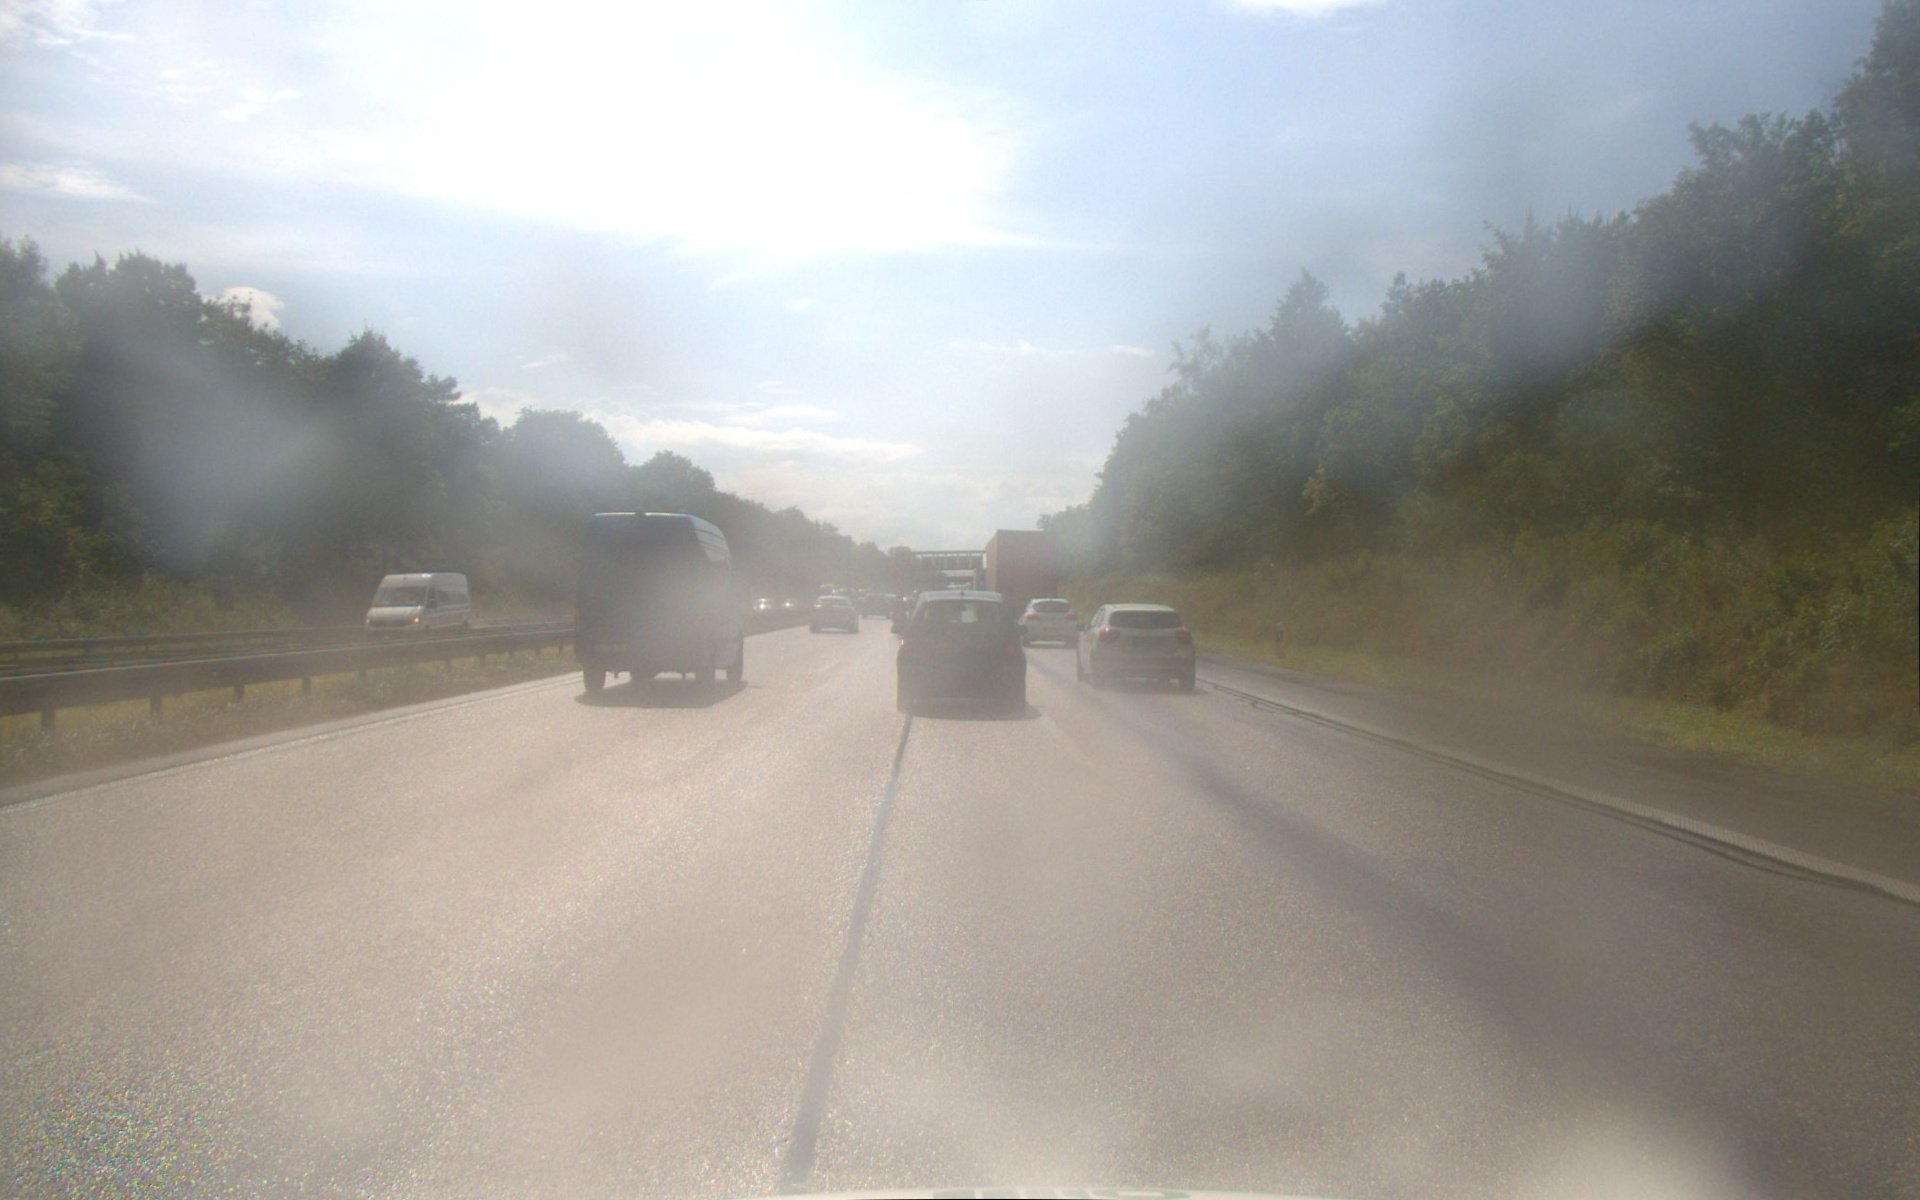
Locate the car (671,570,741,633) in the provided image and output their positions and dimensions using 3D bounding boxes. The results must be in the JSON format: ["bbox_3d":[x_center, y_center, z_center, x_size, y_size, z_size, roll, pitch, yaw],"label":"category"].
[{"bbox_3d":[-10.509,0.057,68.828,2.139,2.495,5.746,1,0,-2],"label":"car"}]

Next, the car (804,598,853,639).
[{"bbox_3d":[-5.386,0.745,67.914,1.817,1.578,3.483,1,0,-2],"label":"car"}]

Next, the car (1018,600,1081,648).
[{"bbox_3d":[2.803,0.734,52.362,1.646,1.467,3.903,1,0,-2],"label":"car"}]

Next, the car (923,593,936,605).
[{"bbox_3d":[-4.743,-0.193,255.269,1.953,1.759,3.999,0,0,-1],"label":"car"}]

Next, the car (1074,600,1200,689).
[{"bbox_3d":[3.068,0.741,29.361,1.658,1.450,4.218,1,0,-2],"label":"car"}]

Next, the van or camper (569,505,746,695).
[{"bbox_3d":[-4.716,0.002,26.608,1.953,2.715,5.383,1,0,-2],"label":"van or camper"}]

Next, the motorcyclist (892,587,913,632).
[{"bbox_3d":[-2.163,0.363,62.390,0.785,1.662,1.013,1,0,-2],"label":"motorcyclist"}]

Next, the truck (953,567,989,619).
[{"bbox_3d":[0.980,-0.601,151.779,3.189,4.558,12.420,1,0,0],"label":"truck"}]

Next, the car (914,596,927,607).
[{"bbox_3d":[-4.579,0.184,190.940,1.518,1.289,3.483,1,0,-2],"label":"car"}]

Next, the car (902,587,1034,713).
[{"bbox_3d":[0.054,0.644,22.983,1.683,1.595,3.483,1,0,-2],"label":"car"}]

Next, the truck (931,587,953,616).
[{"bbox_3d":[-1.832,0.167,171.003,2.148,2.926,4.848,1,0,-2],"label":"truck"}]

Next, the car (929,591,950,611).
[{"bbox_3d":[-1.493,0.103,119.692,1.521,1.407,3.209,1,0,-2],"label":"car"}]

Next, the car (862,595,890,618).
[{"bbox_3d":[-5.622,0.443,110.968,1.716,1.482,3.388,1,0,-2],"label":"car"}]

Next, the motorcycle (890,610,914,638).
[{"bbox_3d":[-2.187,0.888,62.431,0.873,1.018,2.895,1,0,-2],"label":"motorcycle"}]

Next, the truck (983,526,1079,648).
[{"bbox_3d":[2.957,-0.508,74.329,3.575,4.803,16.778,1,0,0],"label":"truck"}]

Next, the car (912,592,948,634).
[{"bbox_3d":[-1.307,0.562,71.830,1.500,1.777,3.483,1,0,-2],"label":"car"}]

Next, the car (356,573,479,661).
[{"bbox_3d":[-19.039,0.573,58.453,2.217,2.920,6.929,1,0,-2],"label":"car"}]

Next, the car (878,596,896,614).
[{"bbox_3d":[-6.136,0.406,138.692,1.431,1.418,3.310,1,0,-2],"label":"car"}]
